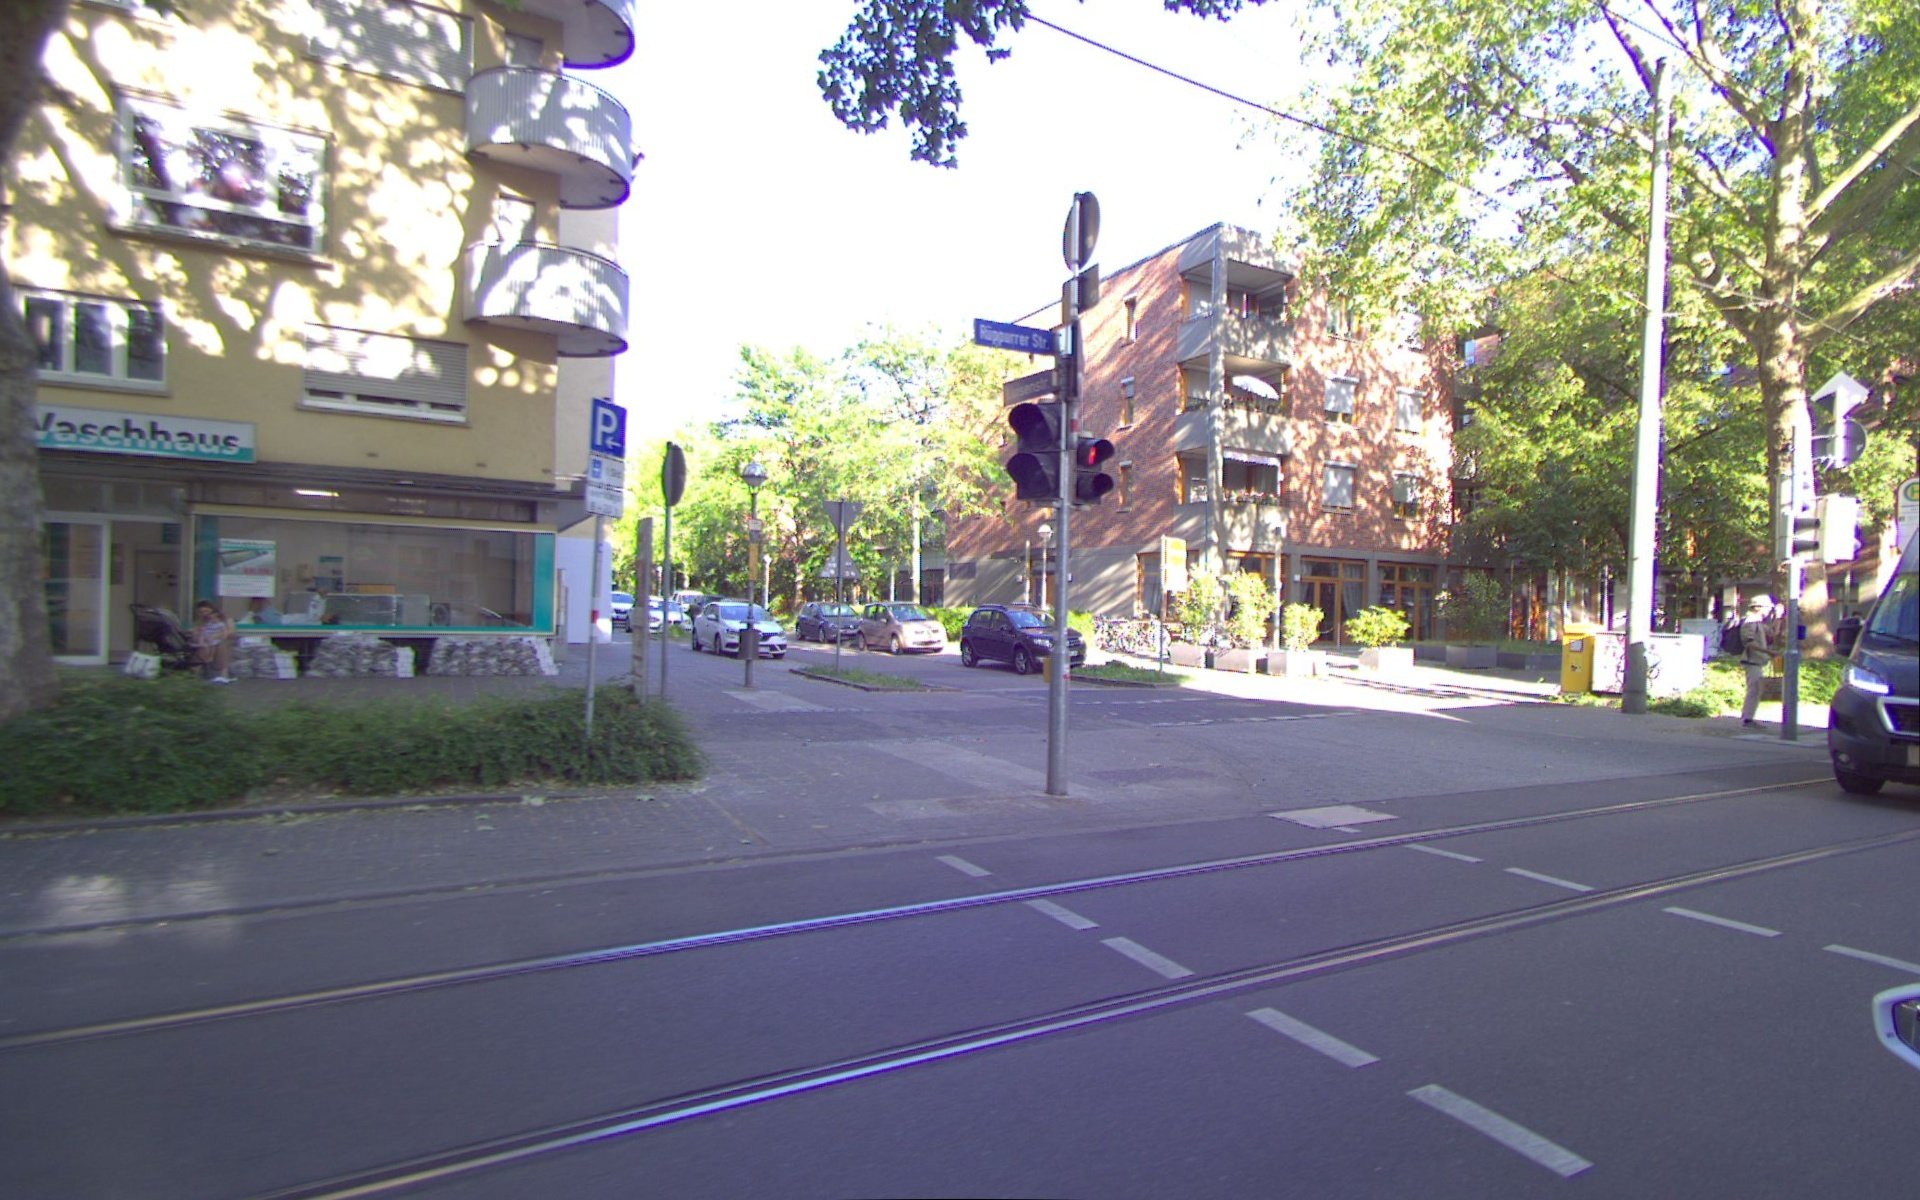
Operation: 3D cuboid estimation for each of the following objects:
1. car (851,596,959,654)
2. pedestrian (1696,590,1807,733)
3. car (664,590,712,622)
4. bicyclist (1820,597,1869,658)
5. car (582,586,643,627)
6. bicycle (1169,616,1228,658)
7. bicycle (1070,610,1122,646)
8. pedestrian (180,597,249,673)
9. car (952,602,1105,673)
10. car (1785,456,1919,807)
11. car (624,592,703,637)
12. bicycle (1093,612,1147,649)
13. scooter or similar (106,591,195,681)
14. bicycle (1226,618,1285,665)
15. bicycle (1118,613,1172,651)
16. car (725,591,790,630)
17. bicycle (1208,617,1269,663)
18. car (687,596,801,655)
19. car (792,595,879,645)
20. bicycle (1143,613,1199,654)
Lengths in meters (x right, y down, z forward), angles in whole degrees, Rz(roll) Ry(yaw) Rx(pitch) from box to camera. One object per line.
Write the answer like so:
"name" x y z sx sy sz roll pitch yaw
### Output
"car" -1.819 0.750 32.042 1.937 1.684 3.970 0 0 -29
"pedestrian" 10.897 0.803 13.842 0.910 1.860 0.919 -1 2 -32
"car" -15.951 0.320 58.748 1.801 1.728 3.969 2 0 -29
"bicyclist" 26.142 0.809 29.695 0.986 1.773 0.771 2 1 -30
"car" -15.959 0.255 45.982 1.976 1.706 3.969 2 0 -29
"bicycle" 6.534 0.999 27.485 1.619 1.099 0.539 0 2 -30
"bicycle" 4.336 0.893 32.068 1.619 1.098 0.539 2 1 -30
"pedestrian" -10.733 0.503 14.476 0.703 1.061 0.575 2 1 -30
"car" 1.627 0.892 25.199 1.976 1.528 3.969 2 0 -29
"car" 10.315 0.343 9.244 6.040 2.774 2.105 2 -1 -29
"car" -11.079 0.504 37.358 1.976 1.477 3.969 2 0 -29
"bicycle" 4.926 0.939 30.870 1.619 1.098 0.539 2 1 -30
"scooter or similar" -11.046 0.478 13.724 0.662 1.183 0.644 2 1 -2
"bicycle" 7.474 1.042 25.365 1.518 1.099 0.539 -1 2 -30
"bicycle" 5.462 0.933 29.626 1.619 1.099 0.539 1 1 -30
"car" -9.406 0.478 46.528 1.815 1.639 3.969 2 0 -29
"bicycle" 7.182 1.017 25.917 1.619 1.099 0.539 -1 2 -30
"car" -5.993 0.666 27.509 1.976 1.394 3.969 2 0 -29
"car" -4.681 0.713 37.365 1.845 1.684 3.969 2 0 -29
"bicycle" 6.021 0.952 28.655 1.619 1.099 0.539 -1 2 -30
